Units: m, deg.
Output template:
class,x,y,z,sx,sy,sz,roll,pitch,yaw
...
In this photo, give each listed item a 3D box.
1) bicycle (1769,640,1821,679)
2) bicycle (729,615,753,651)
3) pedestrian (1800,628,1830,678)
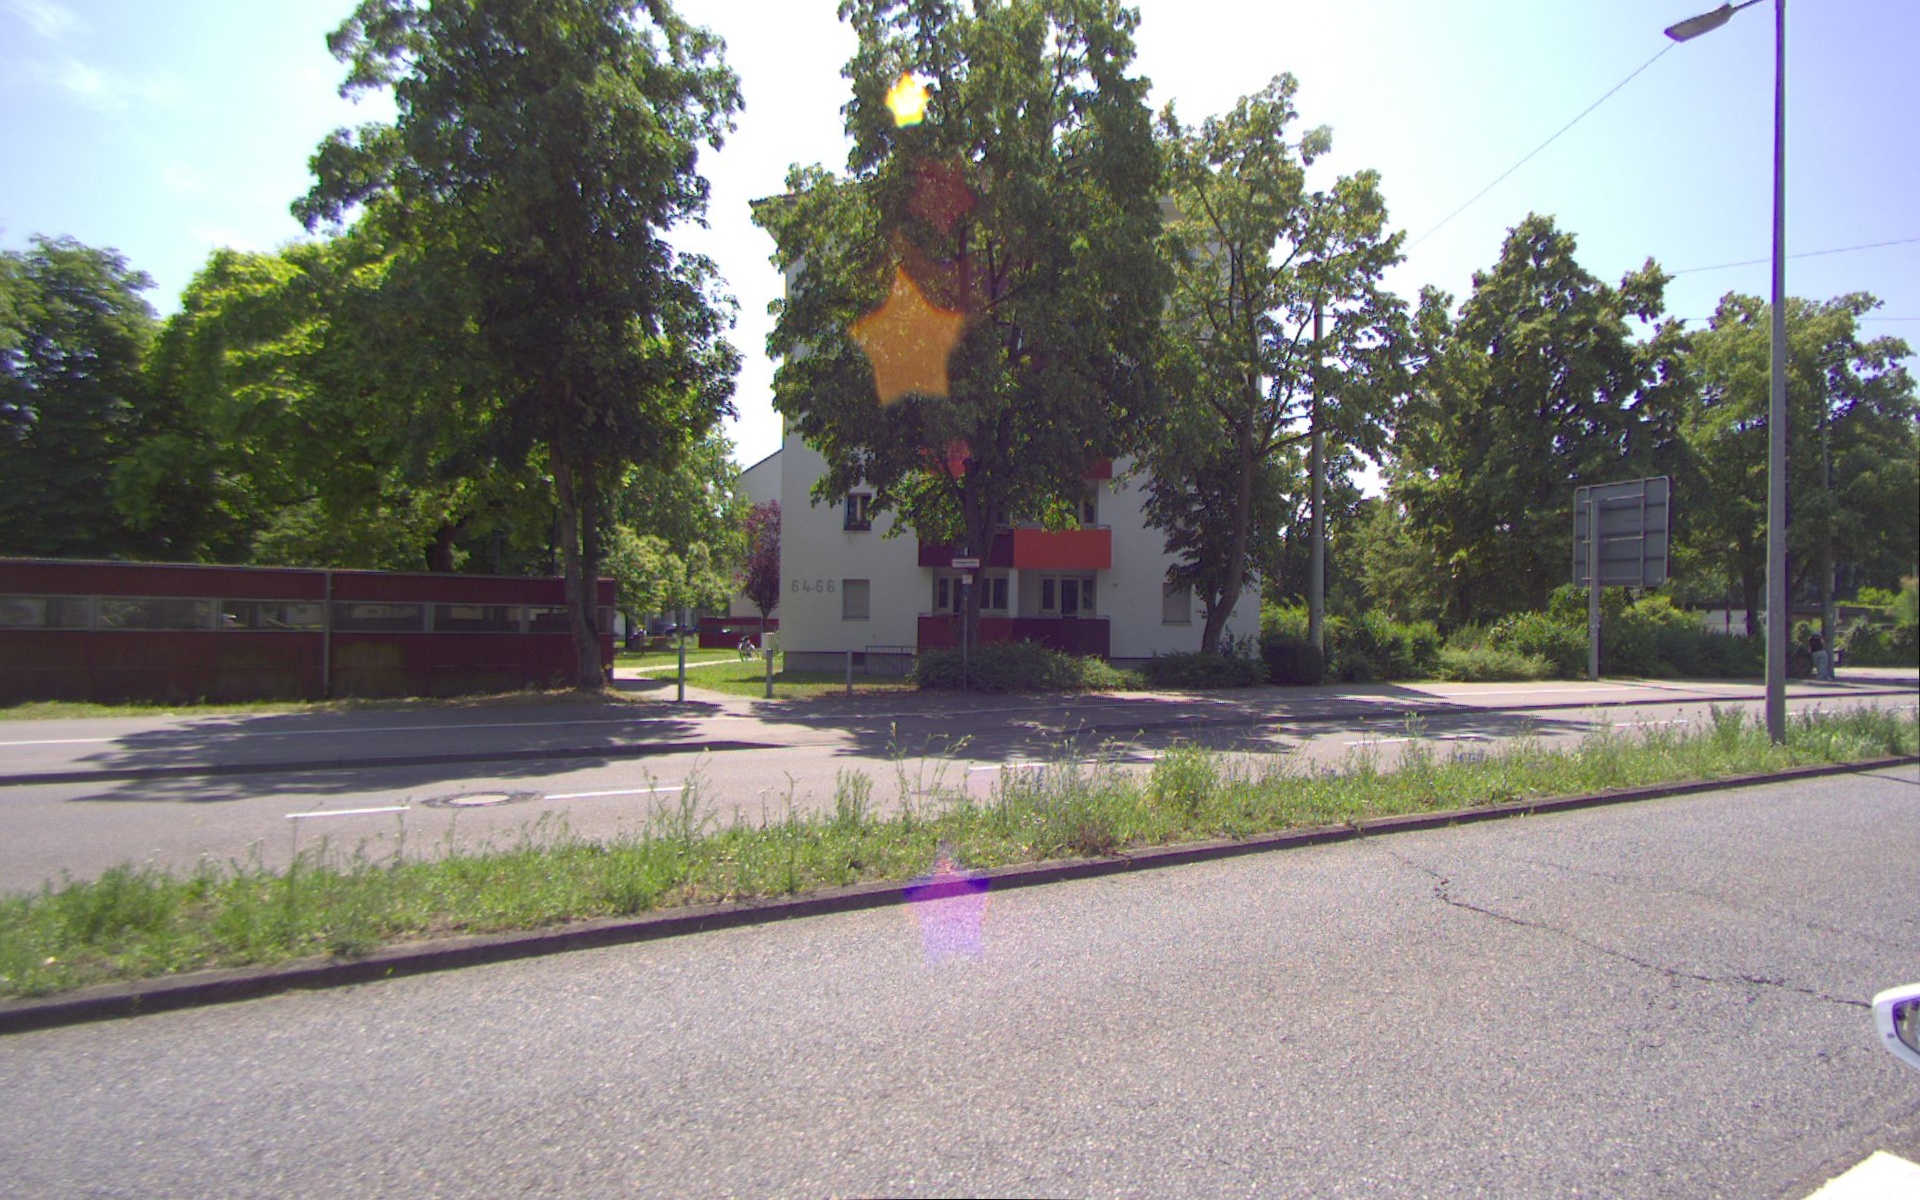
class,x,y,z,sx,sy,sz,roll,pitch,yaw
bicycle,29.728,2.122,35.769,1.547,1.345,0.646,1,-1,-15
bicycle,-8.378,1.242,38.466,0.699,1.330,1.859,1,-1,-8
pedestrian,29.950,1.854,35.191,0.593,1.741,0.549,1,-1,-14
